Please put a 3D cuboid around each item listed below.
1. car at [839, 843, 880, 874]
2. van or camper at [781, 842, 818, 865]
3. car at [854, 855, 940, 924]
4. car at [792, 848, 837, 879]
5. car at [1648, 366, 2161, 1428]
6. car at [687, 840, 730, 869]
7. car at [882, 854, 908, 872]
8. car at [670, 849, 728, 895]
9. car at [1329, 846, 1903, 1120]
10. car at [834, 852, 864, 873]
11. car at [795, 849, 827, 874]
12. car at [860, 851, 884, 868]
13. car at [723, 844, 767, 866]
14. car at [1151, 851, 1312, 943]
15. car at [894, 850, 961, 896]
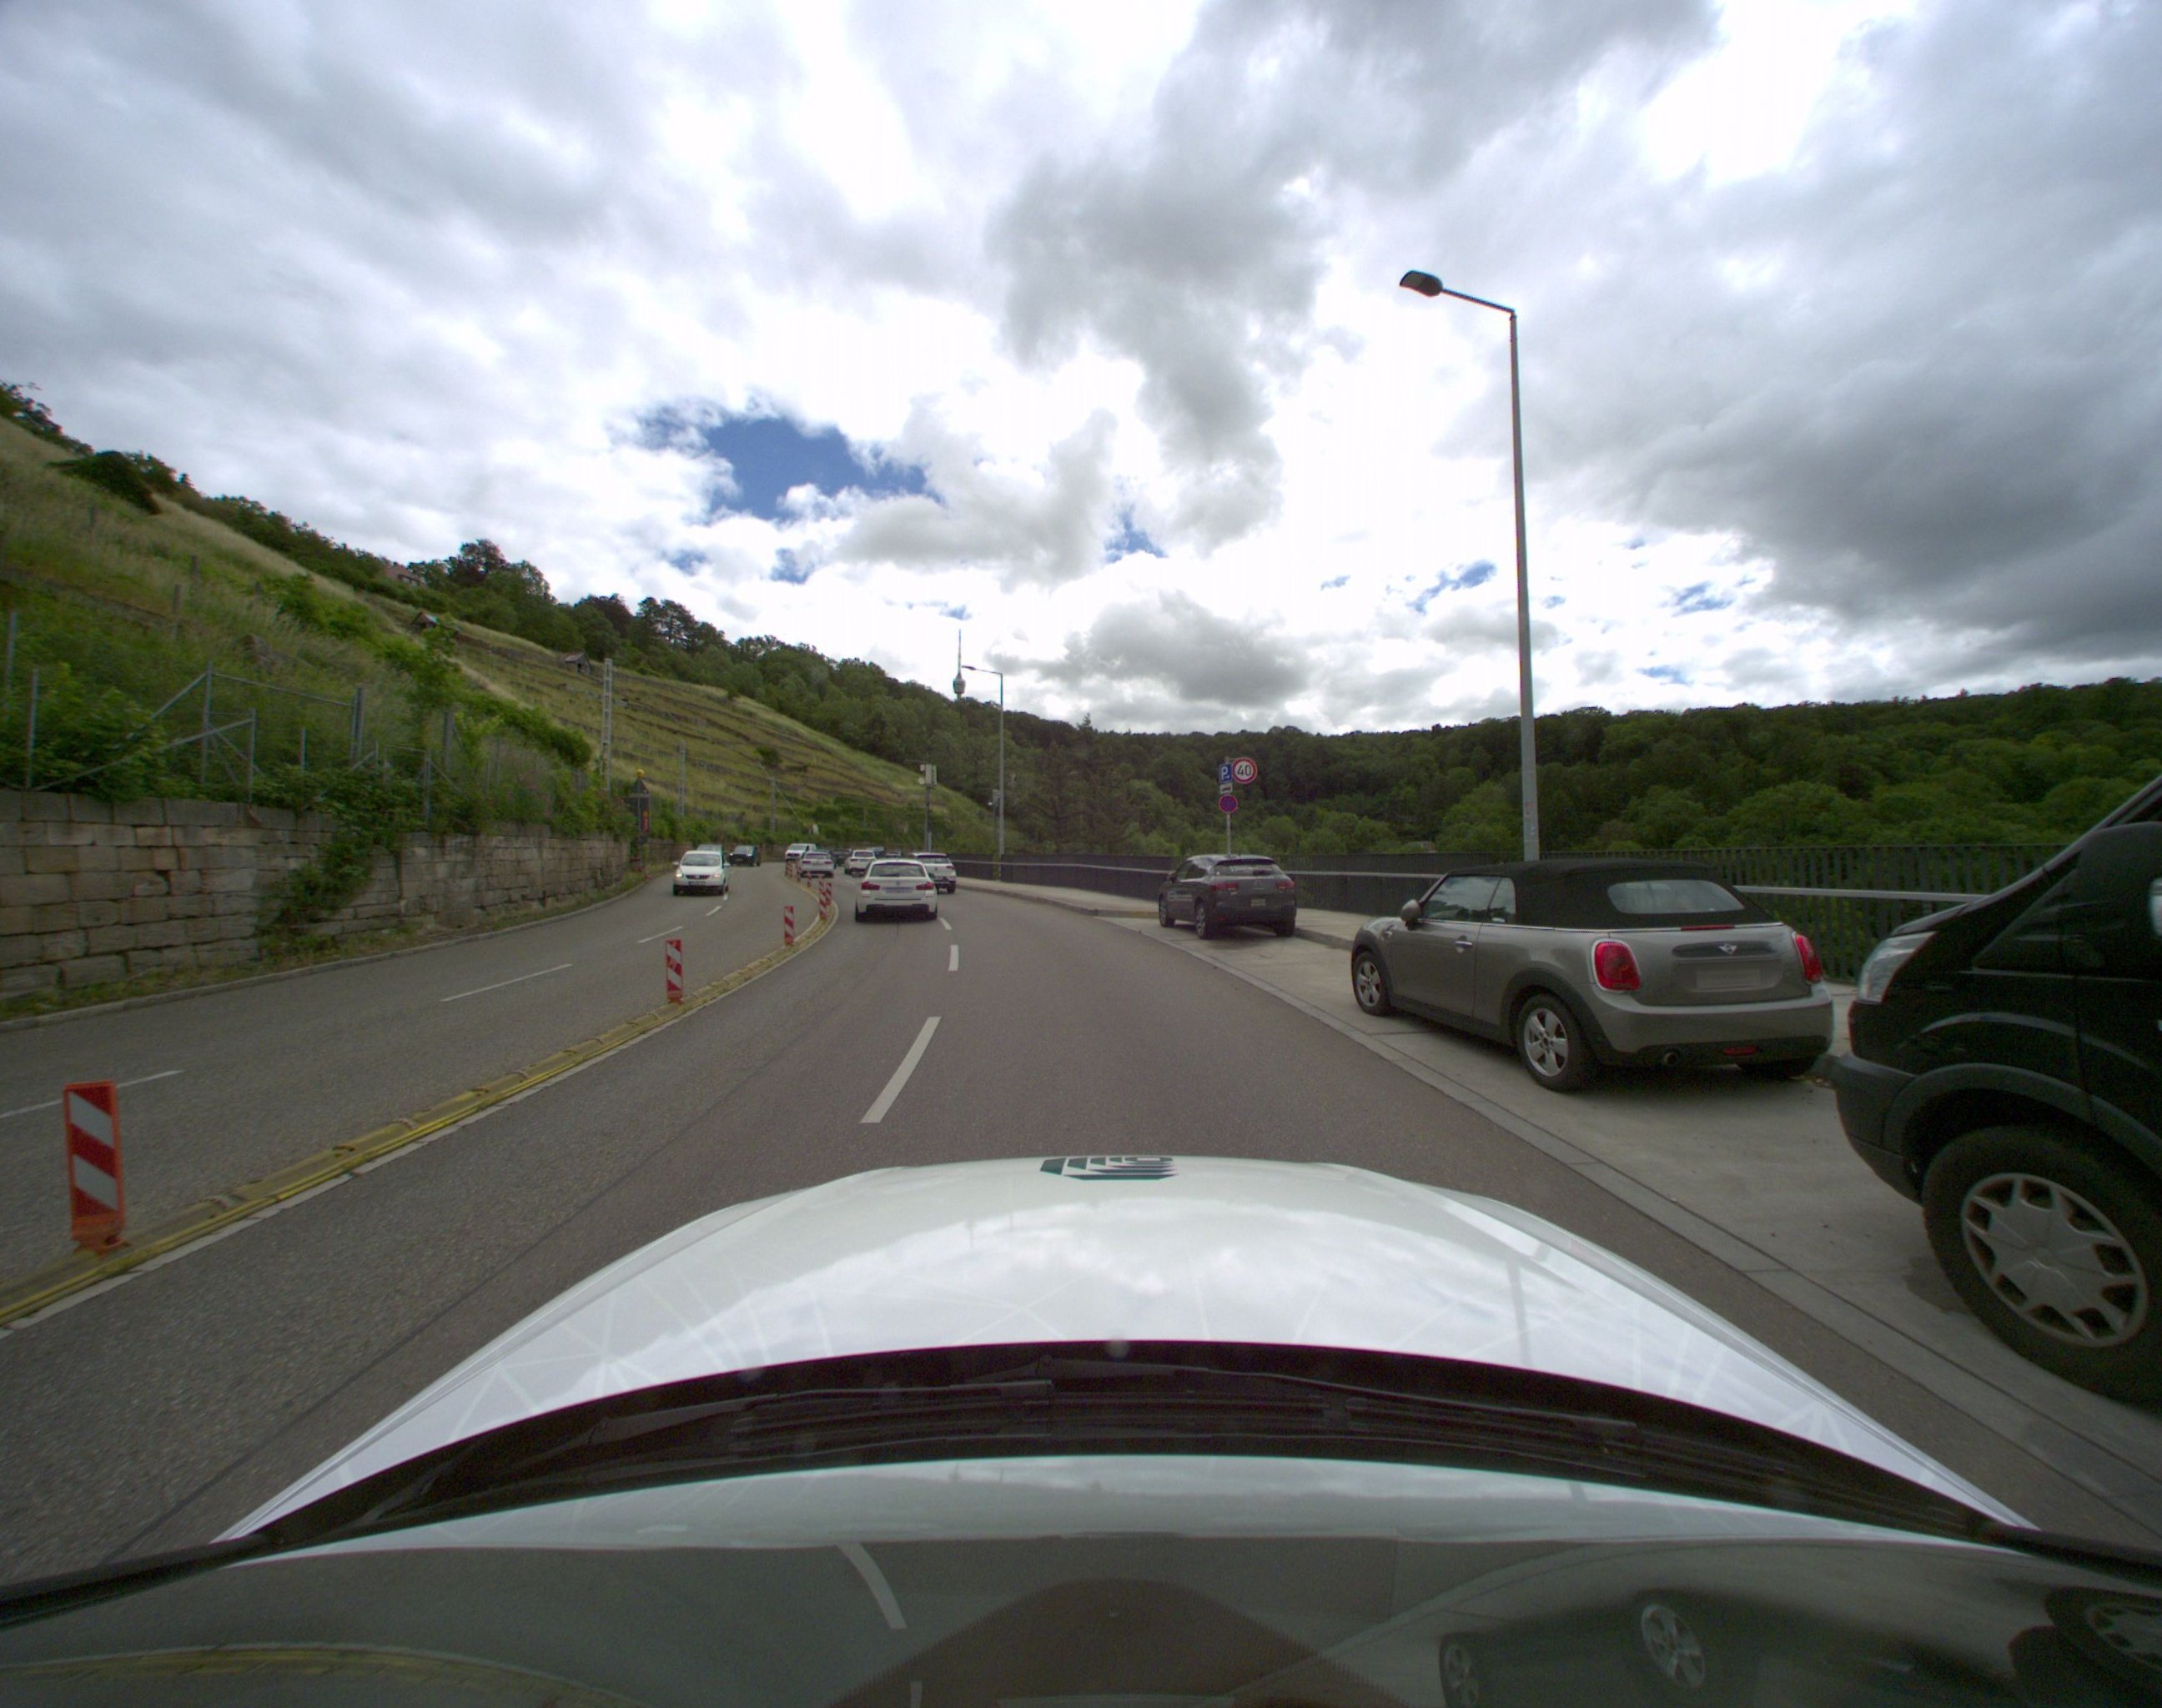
[{"bbox_3d":[-14.440,0.341,52.927,2.002,1.718,4.082,-3,-2,-23],"label":"car"},{"bbox_3d":[-28.358,-0.086,82.310,2.142,2.015,4.960,-1,3,-3],"label":"van or camper"},{"bbox_3d":[-4.498,0.786,20.199,1.829,1.459,4.468,-1,0,-11],"label":"car"},{"bbox_3d":[-15.306,0.594,46.662,2.002,1.503,4.630,-3,-2,-23],"label":"car"},{"bbox_3d":[3.601,0.067,0.720,2.159,2.521,5.772,-4,0,1],"label":"car"},{"bbox_3d":[-23.434,0.078,51.384,1.847,1.726,4.437,0,-1,-17],"label":"car"},{"bbox_3d":[-19.836,0.984,87.084,1.864,1.762,3.997,-1,-3,-1],"label":"car"},{"bbox_3d":[-13.706,0.621,29.412,1.709,1.549,3.970,1,0,-23],"label":"car"},{"bbox_3d":[3.549,0.703,6.381,1.712,1.431,3.842,-1,0,-6],"label":"car"},{"bbox_3d":[-21.463,0.788,75.502,1.866,1.762,3.992,0,-3,-5],"label":"car"},{"bbox_3d":[-20.961,0.626,63.361,1.997,1.648,3.978,-3,-2,-15],"label":"car"},{"bbox_3d":[-24.714,0.698,96.313,1.864,1.762,3.997,-1,-3,-1],"label":"car"},{"bbox_3d":[-26.342,0.060,63.949,1.861,1.624,4.342,1,0,-4],"label":"car"},{"bbox_3d":[2.740,0.732,15.801,1.874,1.543,4.078,0,-1,-8],"label":"car"},{"bbox_3d":[-6.097,0.705,32.043,1.835,1.605,3.971,-3,1,-21],"label":"car"}]
